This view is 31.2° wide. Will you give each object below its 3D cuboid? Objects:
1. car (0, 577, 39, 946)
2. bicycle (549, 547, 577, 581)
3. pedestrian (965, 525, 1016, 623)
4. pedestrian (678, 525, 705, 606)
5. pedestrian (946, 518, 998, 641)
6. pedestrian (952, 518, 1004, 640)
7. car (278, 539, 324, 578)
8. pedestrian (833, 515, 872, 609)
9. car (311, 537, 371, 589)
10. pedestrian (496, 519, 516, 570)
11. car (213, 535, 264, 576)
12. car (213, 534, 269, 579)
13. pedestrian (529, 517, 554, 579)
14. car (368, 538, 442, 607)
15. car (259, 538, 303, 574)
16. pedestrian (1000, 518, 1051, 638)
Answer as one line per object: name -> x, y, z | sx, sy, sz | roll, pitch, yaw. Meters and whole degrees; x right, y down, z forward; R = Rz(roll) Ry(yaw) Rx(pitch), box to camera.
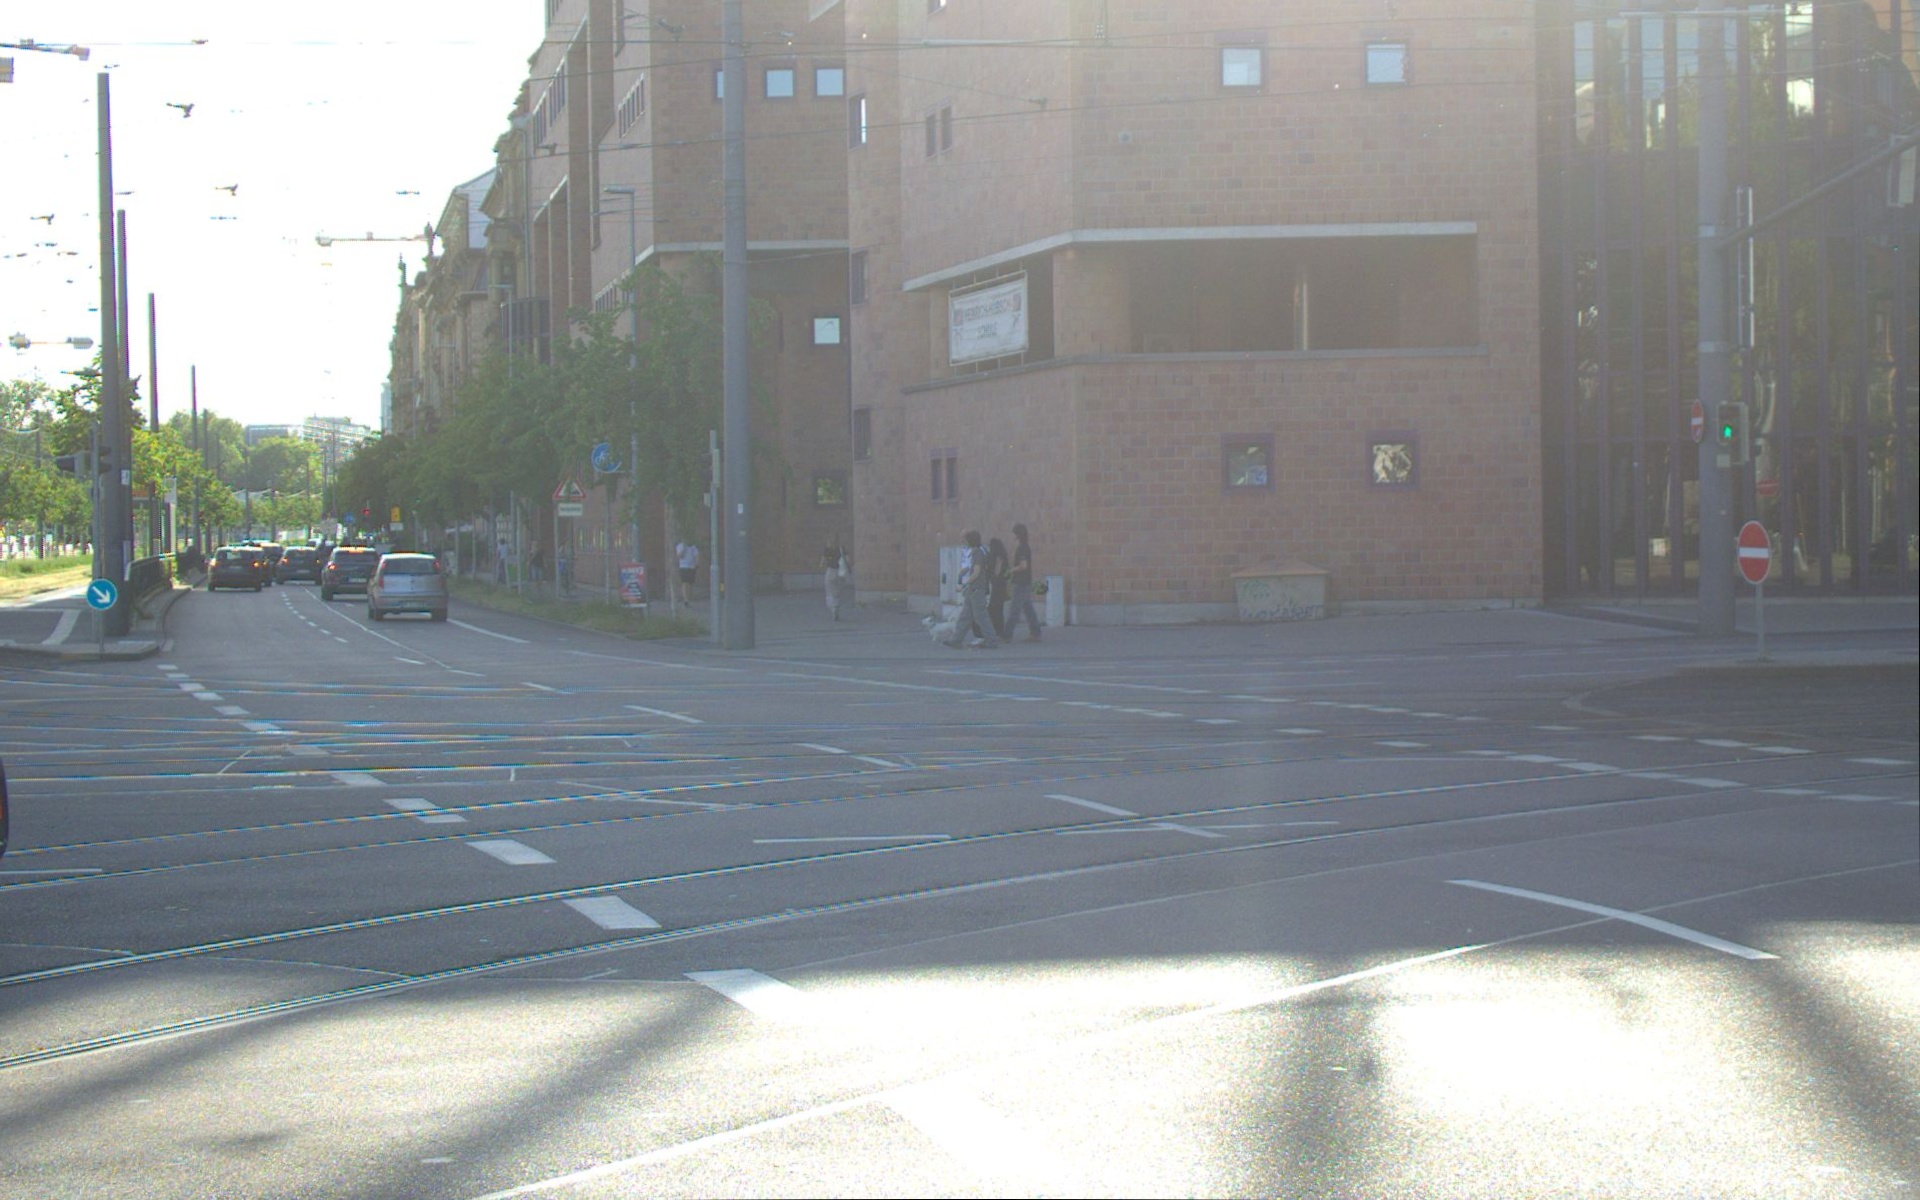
car -> -5.629, 0.612, 14.875 | 1.672, 1.496, 3.689 | 1, 1, -42
bicycle -> -11.161, -1.028, 96.593 | 0.648, 0.901, 2.346 | -1, 2, -9
pedestrian -> 0.468, -0.400, 52.738 | 0.547, 1.472, 0.573 | -2, 2, -28
pedestrian -> -6.066, -0.786, 77.654 | 0.547, 1.780, 0.573 | -1, 4, -8
pedestrian -> 0.171, -0.300, 50.417 | 0.571, 1.780, 0.549 | -2, 1, -18
pedestrian -> 0.264, -0.314, 51.179 | 0.571, 1.780, 0.549 | -2, 1, -18
car -> -25.705, -1.630, 134.178 | 1.720, 1.448, 3.699 | -2, 1, -10
pedestrian -> -2.087, -0.737, 66.529 | 0.640, 1.780, 0.688 | -2, 1, -8
car -> -18.313, -1.119, 101.751 | 1.670, 1.448, 3.699 | -2, 1, -10
pedestrian -> -16.018, -1.944, 121.202 | 0.640, 1.780, 0.688 | -2, 1, -8
car -> -26.593, -1.643, 126.742 | 1.720, 1.448, 3.699 | -2, 1, -10
car -> -24.241, -1.478, 115.986 | 1.720, 1.448, 3.699 | -2, 1, -10
pedestrian -> -12.250, -1.527, 100.666 | 0.640, 1.780, 0.688 | -2, 1, -10
car -> -12.291, -0.619, 76.220 | 1.559, 1.451, 3.432 | -1, 1, -9
car -> -28.386, -1.858, 143.726 | 1.720, 1.448, 3.699 | -2, 1, -10
pedestrian -> 0.986, -0.338, 51.849 | 0.571, 1.780, 0.549 | -2, 1, -18
